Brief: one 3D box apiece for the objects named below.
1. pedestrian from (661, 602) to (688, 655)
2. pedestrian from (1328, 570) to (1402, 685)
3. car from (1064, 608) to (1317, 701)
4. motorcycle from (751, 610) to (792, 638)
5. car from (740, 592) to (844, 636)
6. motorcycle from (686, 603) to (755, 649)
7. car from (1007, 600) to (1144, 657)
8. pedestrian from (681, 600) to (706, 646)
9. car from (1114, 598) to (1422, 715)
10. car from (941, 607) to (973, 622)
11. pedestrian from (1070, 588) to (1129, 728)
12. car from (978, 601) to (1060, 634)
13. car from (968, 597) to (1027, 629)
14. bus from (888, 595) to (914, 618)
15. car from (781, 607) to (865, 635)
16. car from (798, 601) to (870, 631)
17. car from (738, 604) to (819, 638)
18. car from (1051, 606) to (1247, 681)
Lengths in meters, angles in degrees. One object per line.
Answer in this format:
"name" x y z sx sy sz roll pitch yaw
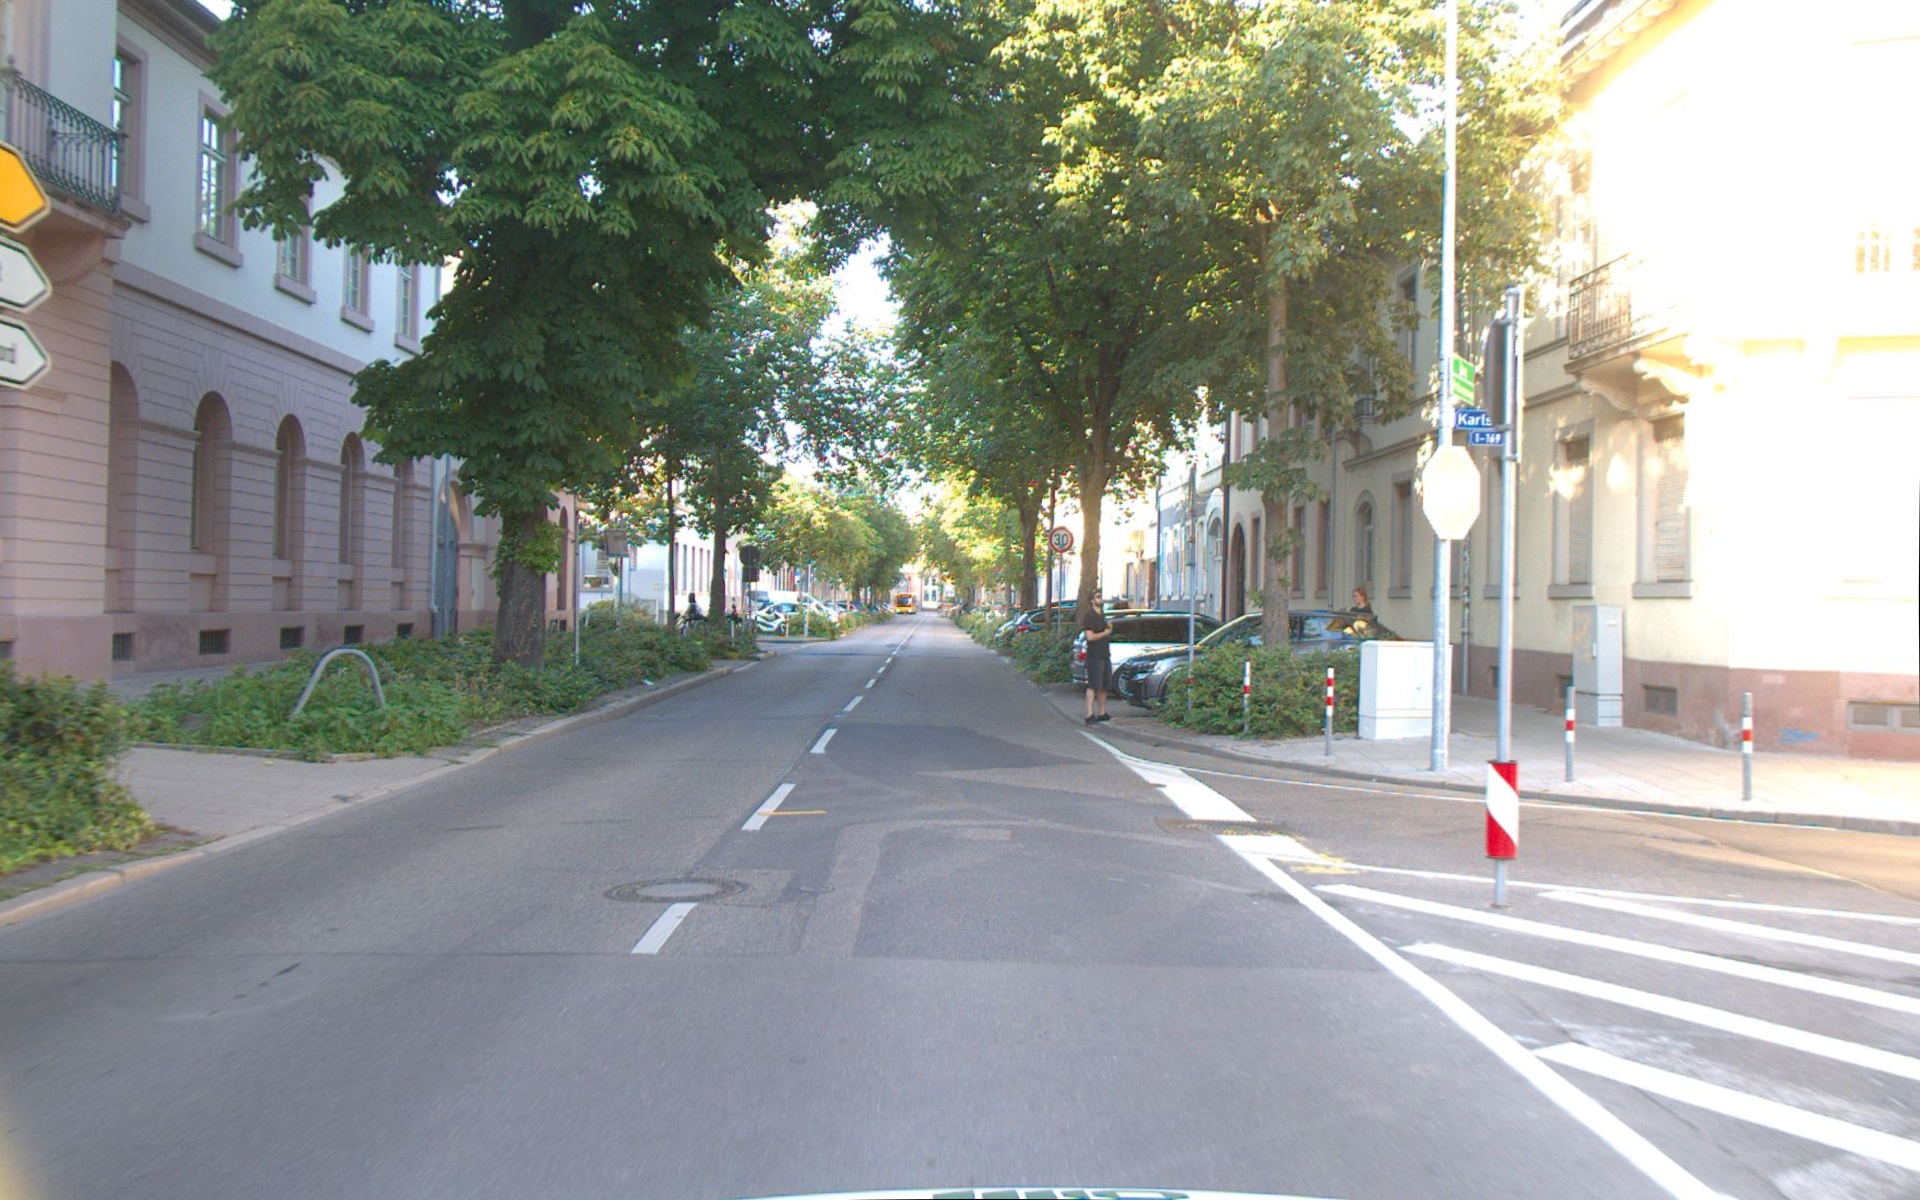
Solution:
"pedestrian" -9.270 0.915 53.705 0.703 1.693 0.838 0 0 1
"pedestrian" 6.238 0.416 25.523 0.924 1.736 0.782 1 1 1
"car" 3.932 0.923 28.722 4.107 1.506 1.852 -1 0 -1
"motorcycle" -7.730 0.968 67.819 1.603 1.087 0.656 2 0 -1
"car" -8.355 0.675 82.396 4.961 2.119 2.262 1 0 -2
"motorcycle" -6.825 0.729 47.233 1.880 1.281 0.590 1 0 -1
"car" 3.433 0.852 49.651 3.934 1.651 1.780 0 0 -2
"pedestrian" -8.516 0.739 52.863 0.641 1.419 0.607 2 -1 -1
"car" 4.346 0.784 23.764 4.025 1.516 1.849 1 1 -2
"car" -0.339 1.873 215.108 3.902 1.870 2.001 1 0 6
"pedestrian" 1.946 0.799 23.169 0.777 1.901 0.752 1 -1 4
"car" 3.290 0.956 92.796 4.499 1.792 2.222 1 0 0
"car" 2.534 0.876 112.049 3.904 2.049 2.000 1 0 2
"bus" -8.812 0.968 246.187 2.971 3.246 9.386 1 0 -8
"car" -8.449 1.277 102.456 4.959 1.645 2.264 1 0 2
"car" -9.051 1.158 118.702 4.960 2.119 2.263 1 0 0
"car" -8.437 0.974 76.998 3.653 1.534 1.871 1 0 -5
"car" 3.977 0.910 35.195 3.934 1.506 1.780 1 0 -2
